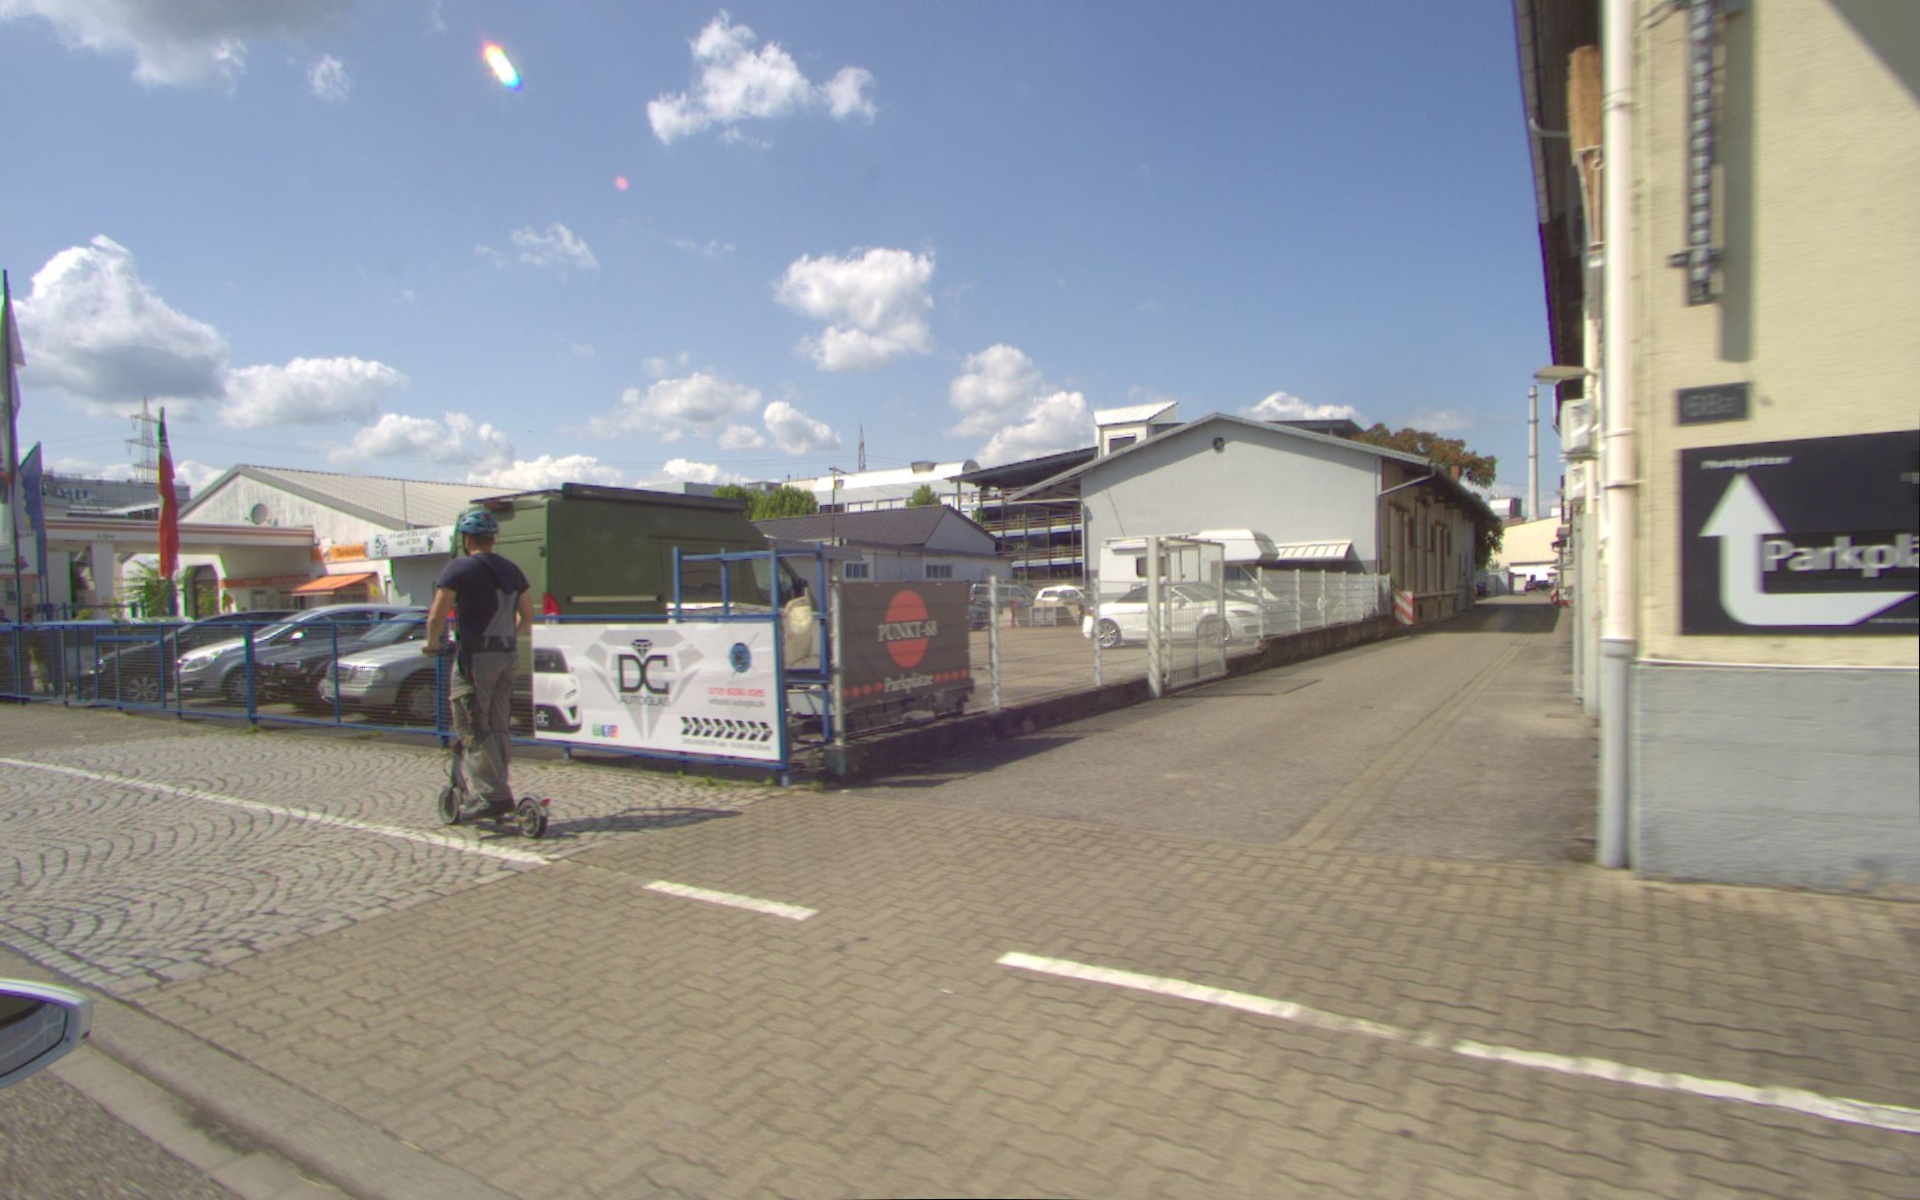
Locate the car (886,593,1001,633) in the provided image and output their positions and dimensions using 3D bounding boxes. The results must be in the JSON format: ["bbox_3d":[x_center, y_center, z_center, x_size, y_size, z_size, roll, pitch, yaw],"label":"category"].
[{"bbox_3d":[-0.674,0.515,39.470,4.120,1.406,1.918,-2,1,31],"label":"car"}]

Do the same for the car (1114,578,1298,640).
[{"bbox_3d":[6.196,0.245,25.298,4.120,1.406,1.918,-2,1,31],"label":"car"}]

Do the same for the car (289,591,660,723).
[{"bbox_3d":[-6.409,0.657,13.630,1.798,1.450,4.164,-1,0,39],"label":"car"}]

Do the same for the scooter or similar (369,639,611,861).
[{"bbox_3d":[-2.953,0.872,6.251,1.588,1.211,0.539,-2,2,32],"label":"scooter or similar"}]

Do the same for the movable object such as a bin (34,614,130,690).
[{"bbox_3d":[-18.008,1.052,20.555,0.812,1.463,1.253,-1,1,33],"label":"movable object such as a bin"}]

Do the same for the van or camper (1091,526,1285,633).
[{"bbox_3d":[6.597,-0.530,29.039,4.987,2.810,2.304,-2,1,30],"label":"van or camper"}]

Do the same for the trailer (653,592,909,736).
[{"bbox_3d":[-1.925,0.635,11.361,1.284,1.351,2.775,-1,1,32],"label":"trailer"}]

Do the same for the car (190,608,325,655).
[{"bbox_3d":[-23.513,1.023,33.594,1.589,1.379,3.312,-2,1,32],"label":"car"}]

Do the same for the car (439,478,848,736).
[{"bbox_3d":[-3.706,0.058,12.572,2.122,2.607,4.524,-1,1,34],"label":"car"}]

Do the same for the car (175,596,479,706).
[{"bbox_3d":[-10.303,0.743,16.473,3.958,1.516,1.734,-2,1,-43],"label":"car"}]

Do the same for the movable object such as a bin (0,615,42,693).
[{"bbox_3d":[-18.830,1.064,19.450,0.812,1.463,1.253,-1,1,33],"label":"movable object such as a bin"}]

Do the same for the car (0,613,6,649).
[{"bbox_3d":[-40.630,1.336,40.486,3.941,1.439,1.955,-2,1,31],"label":"car"}]

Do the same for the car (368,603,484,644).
[{"bbox_3d":[-20.147,0.857,37.892,1.589,1.379,3.487,-2,1,32],"label":"car"}]

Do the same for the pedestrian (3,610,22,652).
[{"bbox_3d":[-38.477,1.257,40.681,0.479,1.711,0.395,-1,2,34],"label":"pedestrian"}]

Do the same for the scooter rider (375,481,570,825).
[{"bbox_3d":[-3.056,0.311,6.303,0.774,1.990,0.715,-2,2,33],"label":"scooter rider"}]

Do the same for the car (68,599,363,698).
[{"bbox_3d":[-12.910,0.766,17.542,3.955,1.462,1.696,-2,1,-40],"label":"car"}]

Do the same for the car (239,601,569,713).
[{"bbox_3d":[-8.249,0.765,15.132,1.799,1.374,3.967,-1,0,40],"label":"car"}]

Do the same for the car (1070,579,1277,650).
[{"bbox_3d":[4.677,0.331,22.119,4.120,1.435,1.749,-2,1,31],"label":"car"}]

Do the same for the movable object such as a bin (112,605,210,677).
[{"bbox_3d":[-17.247,0.869,21.645,0.939,1.463,1.319,-1,1,25],"label":"movable object such as a bin"}]
